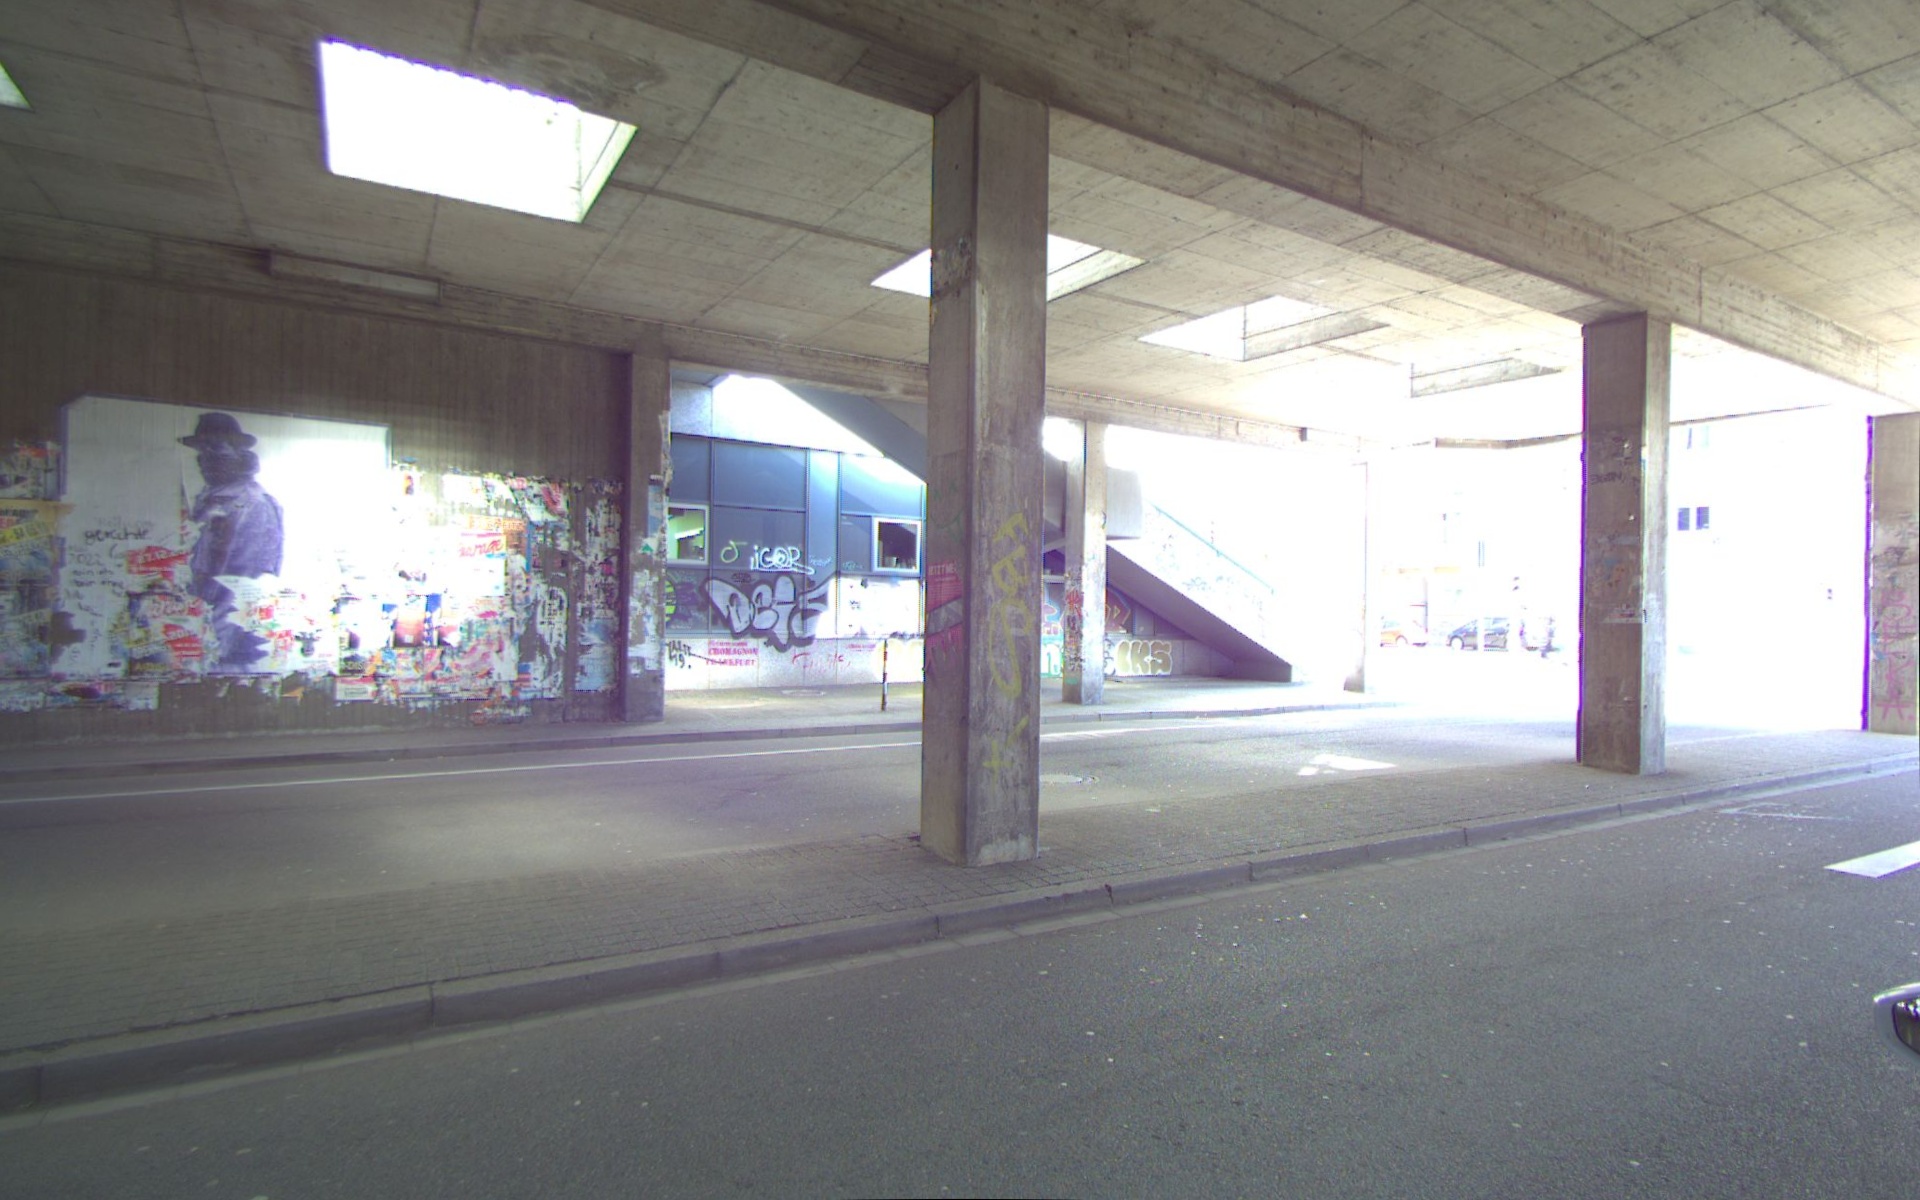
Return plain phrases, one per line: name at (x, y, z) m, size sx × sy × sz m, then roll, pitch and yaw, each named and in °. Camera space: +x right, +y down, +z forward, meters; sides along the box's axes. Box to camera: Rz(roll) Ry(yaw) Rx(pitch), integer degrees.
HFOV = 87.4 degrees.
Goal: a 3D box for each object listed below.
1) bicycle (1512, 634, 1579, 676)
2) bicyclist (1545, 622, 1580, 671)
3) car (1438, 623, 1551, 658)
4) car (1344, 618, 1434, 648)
bicycle at (17.291, 1.621, 29.697) m, size 0.470 × 1.133 × 1.734 m, roll 2°, pitch 0°, yaw -26°
bicyclist at (17.530, 1.351, 29.230) m, size 0.446 × 1.394 × 0.743 m, roll 2°, pitch 0°, yaw -27°
car at (25.314, 1.886, 47.684) m, size 1.905 × 1.428 × 4.382 m, roll 2°, pitch 0°, yaw -32°
car at (22.494, 1.707, 52.740) m, size 1.905 × 1.428 × 3.965 m, roll 2°, pitch 0°, yaw -32°
